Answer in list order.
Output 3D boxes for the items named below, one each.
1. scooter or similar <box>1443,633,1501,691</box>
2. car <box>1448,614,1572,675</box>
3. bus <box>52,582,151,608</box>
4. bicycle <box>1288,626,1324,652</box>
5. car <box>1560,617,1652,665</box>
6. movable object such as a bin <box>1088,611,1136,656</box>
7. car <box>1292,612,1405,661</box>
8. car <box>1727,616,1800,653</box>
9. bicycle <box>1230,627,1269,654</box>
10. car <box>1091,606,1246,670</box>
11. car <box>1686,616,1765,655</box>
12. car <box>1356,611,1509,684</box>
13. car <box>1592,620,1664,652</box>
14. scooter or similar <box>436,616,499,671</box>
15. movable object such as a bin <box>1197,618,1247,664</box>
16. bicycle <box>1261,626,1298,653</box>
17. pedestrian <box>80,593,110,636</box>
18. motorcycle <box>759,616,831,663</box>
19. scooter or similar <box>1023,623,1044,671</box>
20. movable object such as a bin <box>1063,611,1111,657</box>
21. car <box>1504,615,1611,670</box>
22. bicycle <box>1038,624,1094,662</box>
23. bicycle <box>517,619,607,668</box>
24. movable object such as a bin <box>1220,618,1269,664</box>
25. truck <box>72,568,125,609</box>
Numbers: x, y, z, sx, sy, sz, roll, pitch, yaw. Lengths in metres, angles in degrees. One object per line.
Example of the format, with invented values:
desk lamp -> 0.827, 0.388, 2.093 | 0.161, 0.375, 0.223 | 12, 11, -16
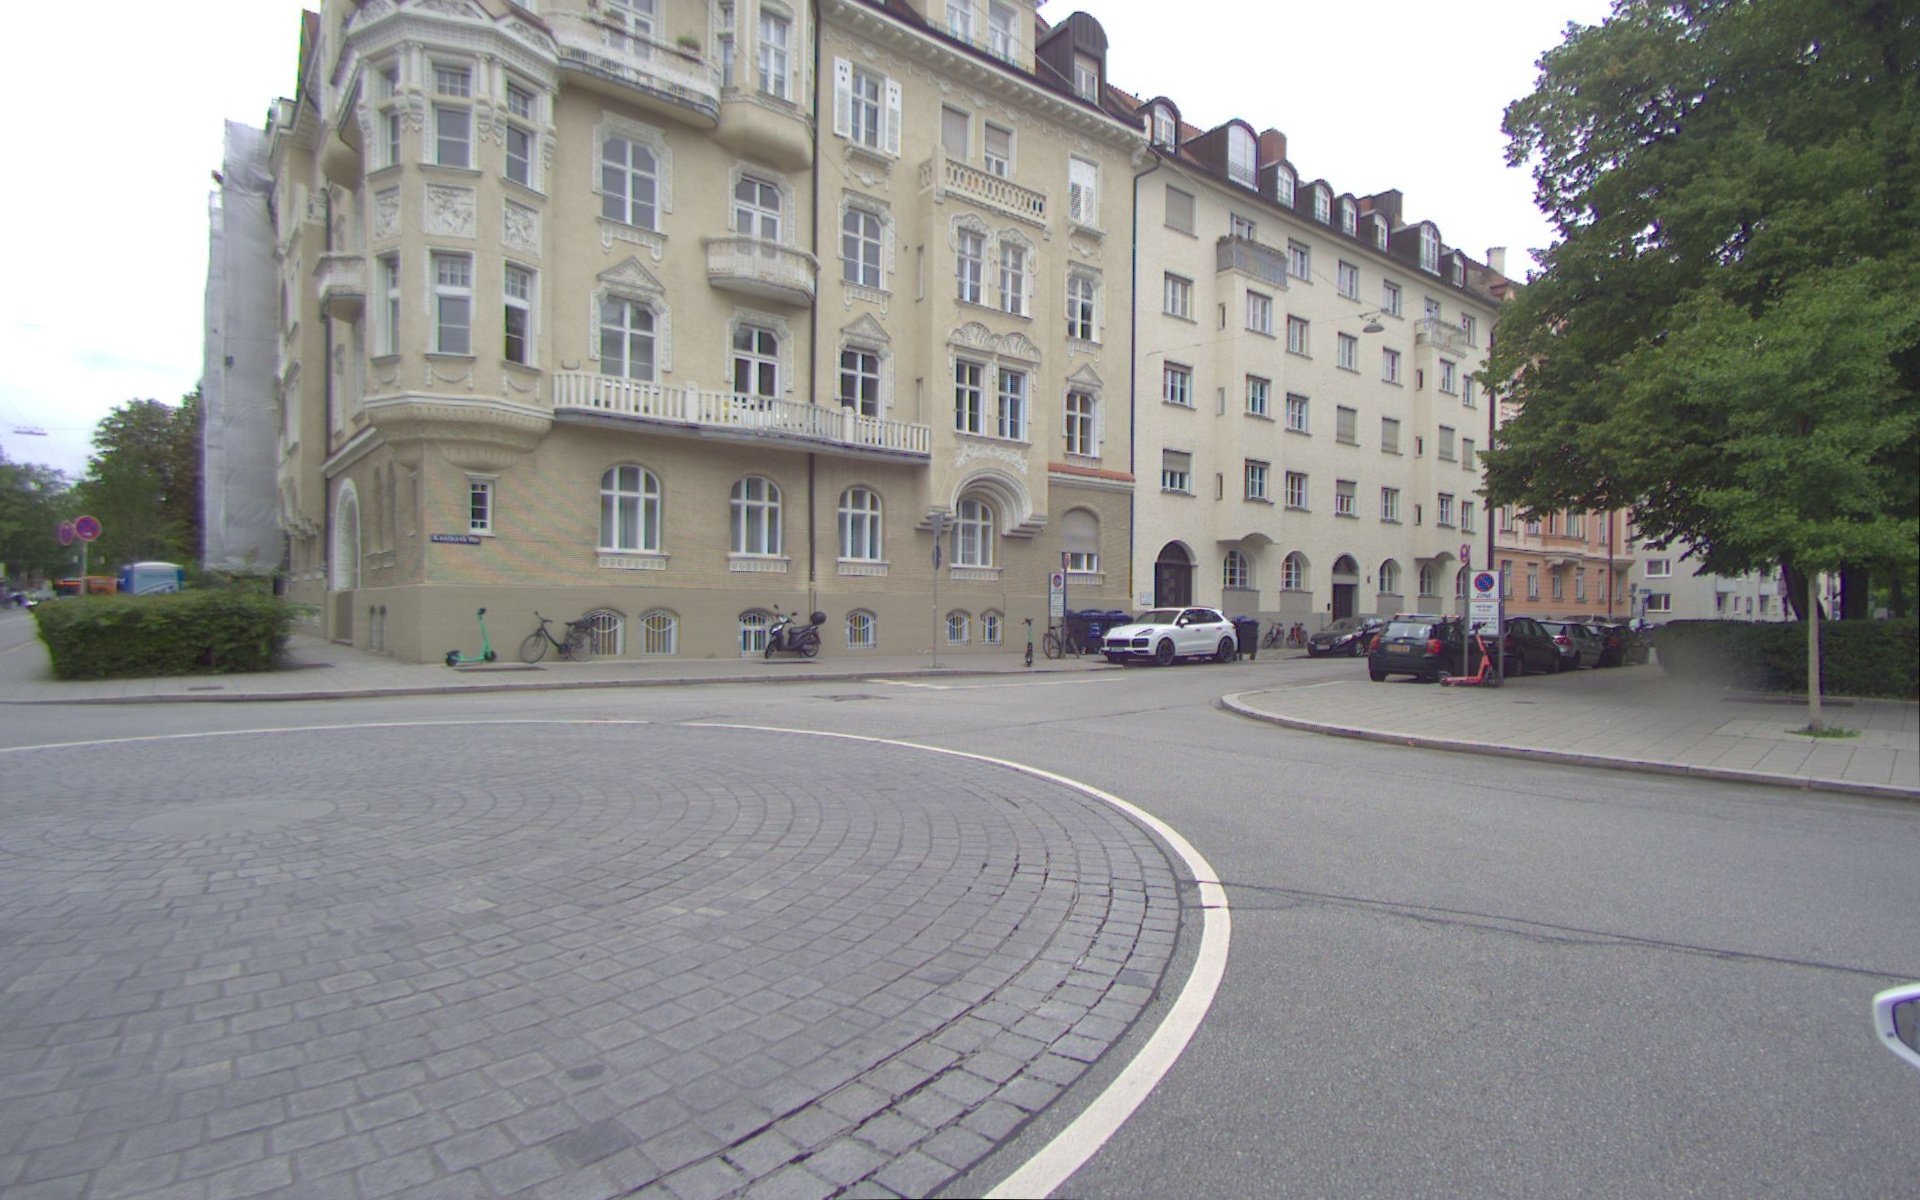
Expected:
scooter or similar -> 10.158, 1.219, 19.948 | 0.983, 1.103, 0.390 | 1, 0, 24
car -> 14.772, 1.149, 26.895 | 4.206, 1.525, 1.776 | 1, -2, -44
bus -> -103.961, -0.533, 122.055 | 2.675, 2.938, 14.517 | 1, 0, -13
bicycle -> 14.596, 1.647, 42.358 | 1.815, 1.063, 0.558 | 1, 0, -40
car -> 22.051, 1.371, 34.216 | 4.088, 1.525, 1.776 | 1, -2, -44
movable object such as a bin -> 5.106, 1.107, 33.706 | 1.163, 1.444, 1.083 | 1, 0, -37
car -> 14.171, 1.279, 36.506 | 4.678, 1.637, 1.957 | 1, 0, -43
car -> 38.304, 1.626, 47.851 | 3.784, 1.656, 1.822 | 1, -2, -37
bicycle -> 11.455, 1.591, 39.723 | 1.815, 1.063, 0.558 | 1, 0, -40
car -> 6.222, 1.081, 29.675 | 4.801, 1.723, 1.959 | 1, 0, -40
car -> 33.865, 1.553, 44.410 | 4.079, 1.656, 1.821 | 1, -2, -39
car -> 11.006, 1.043, 23.269 | 4.393, 1.525, 1.801 | 1, -2, -44
car -> 36.165, 1.926, 54.336 | 4.368, 1.602, 1.960 | 1, 0, -38
scooter or similar -> -10.409, 0.904, 21.271 | 0.458, 1.130, 1.215 | 1, 0, 19
movable object such as a bin -> 8.417, 1.295, 32.246 | 1.163, 1.444, 1.083 | 1, 0, -37
bicycle -> 13.070, 1.586, 41.060 | 1.815, 1.063, 0.558 | 1, 0, -40
pedestrian -> -35.603, 0.580, 41.336 | 0.869, 1.749, 1.040 | 1, -1, -39
motorcycle -> -4.335, 1.028, 26.433 | 1.815, 1.192, 0.593 | 1, 0, -40
scooter or similar -> 1.953, 1.244, 26.745 | 0.458, 1.209, 1.215 | 1, 0, 0
movable object such as a bin -> 4.169, 1.105, 32.979 | 1.163, 1.444, 1.083 | 1, 0, -37
car -> 17.972, 1.246, 30.152 | 4.088, 1.525, 1.776 | 1, -2, -44
bicycle -> 3.150, 1.263, 29.787 | 1.815, 1.063, 0.558 | 1, 0, -40
bicycle -> -8.995, 0.976, 22.757 | 1.815, 1.063, 0.558 | 1, 0, -40
movable object such as a bin -> 9.341, 1.324, 32.980 | 1.163, 1.444, 1.083 | 1, 0, -37
truck -> -81.944, -1.005, 95.668 | 3.161, 3.671, 8.641 | 1, -1, -36
